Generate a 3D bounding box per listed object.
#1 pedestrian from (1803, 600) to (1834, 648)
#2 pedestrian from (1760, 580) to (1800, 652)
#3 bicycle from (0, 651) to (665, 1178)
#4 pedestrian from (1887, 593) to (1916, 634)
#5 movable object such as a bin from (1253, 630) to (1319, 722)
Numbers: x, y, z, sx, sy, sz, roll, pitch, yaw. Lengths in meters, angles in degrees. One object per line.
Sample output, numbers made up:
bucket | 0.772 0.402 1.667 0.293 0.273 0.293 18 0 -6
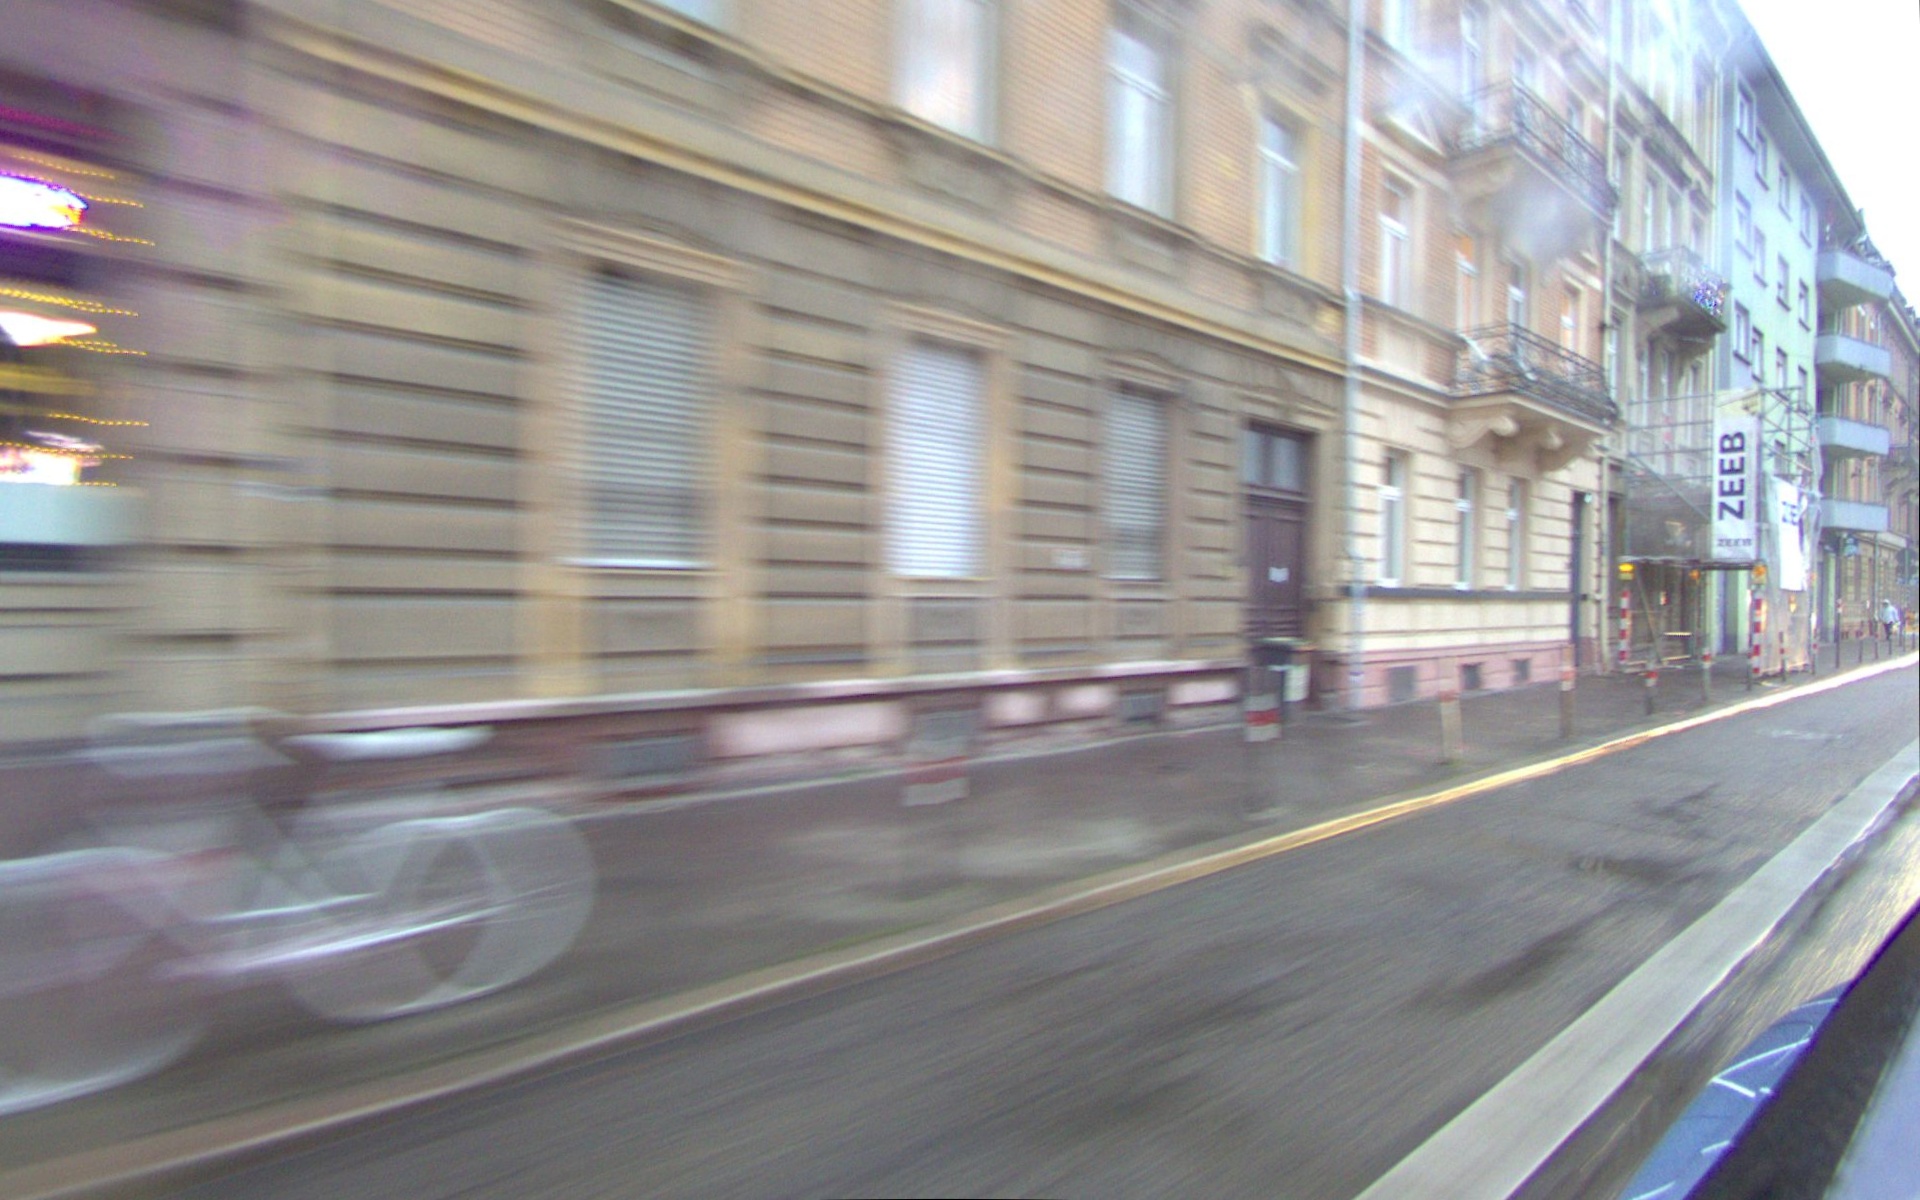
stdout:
pedestrian | 25.412 0.691 29.946 0.716 1.394 0.601 0 0 -41
pedestrian | 21.305 0.400 26.305 0.593 1.841 0.770 0 0 22
bicycle | -2.074 0.805 3.123 2.150 1.171 0.685 -1 0 -41
pedestrian | 37.995 0.551 40.841 0.729 1.617 0.787 0 0 -43
movable object such as a bin | 3.565 0.813 11.063 0.499 0.943 0.507 0 0 -42
